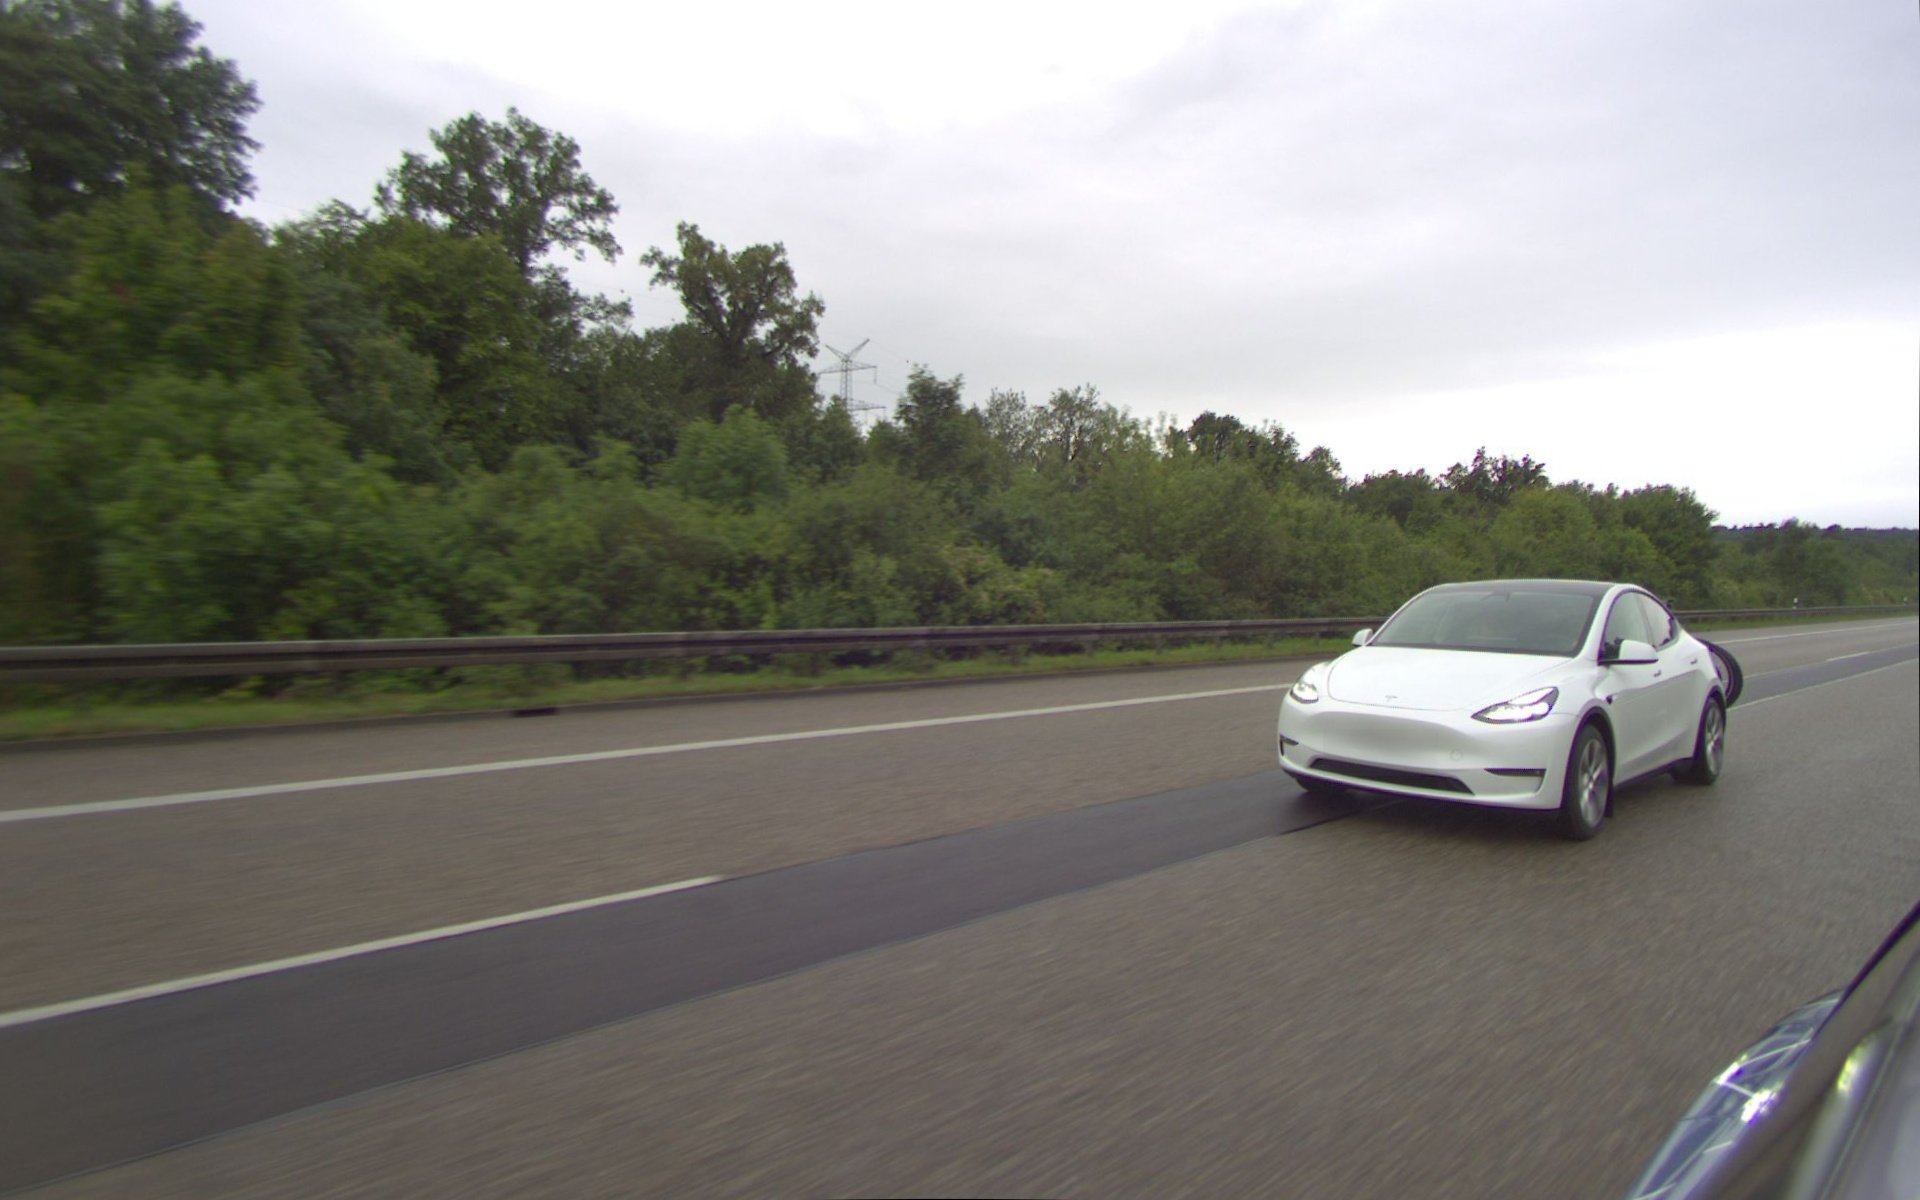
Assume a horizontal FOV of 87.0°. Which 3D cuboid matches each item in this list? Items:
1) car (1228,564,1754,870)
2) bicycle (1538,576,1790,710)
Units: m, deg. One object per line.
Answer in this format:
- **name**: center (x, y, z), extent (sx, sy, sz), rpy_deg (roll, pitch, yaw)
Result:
- **car**: center (4.200, 0.573, 7.563), extent (4.877, 1.587, 1.863), rpy_deg (-1, 1, -41)
- **bicycle**: center (6.490, 0.335, 9.403), extent (0.898, 1.104, 1.756), rpy_deg (-2, 2, -41)
